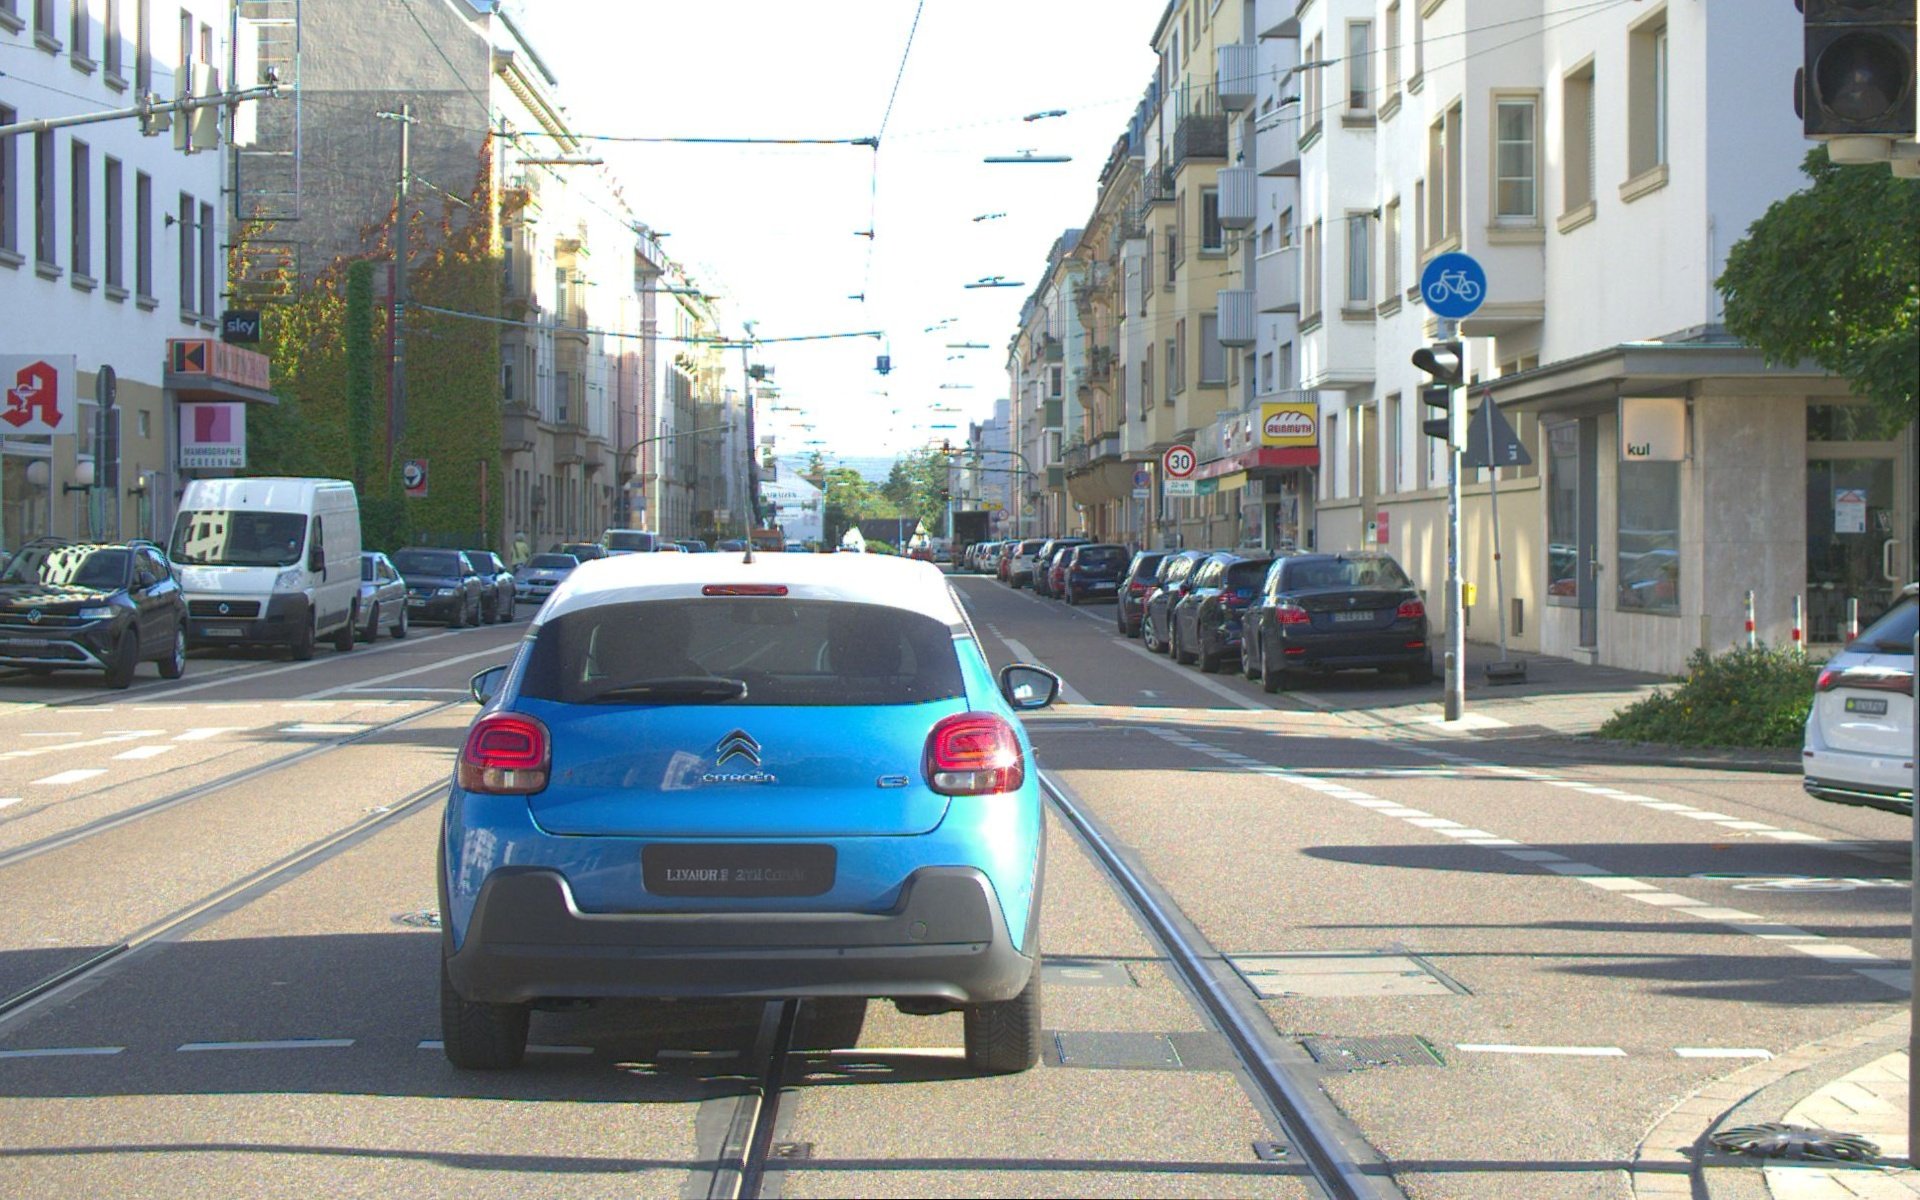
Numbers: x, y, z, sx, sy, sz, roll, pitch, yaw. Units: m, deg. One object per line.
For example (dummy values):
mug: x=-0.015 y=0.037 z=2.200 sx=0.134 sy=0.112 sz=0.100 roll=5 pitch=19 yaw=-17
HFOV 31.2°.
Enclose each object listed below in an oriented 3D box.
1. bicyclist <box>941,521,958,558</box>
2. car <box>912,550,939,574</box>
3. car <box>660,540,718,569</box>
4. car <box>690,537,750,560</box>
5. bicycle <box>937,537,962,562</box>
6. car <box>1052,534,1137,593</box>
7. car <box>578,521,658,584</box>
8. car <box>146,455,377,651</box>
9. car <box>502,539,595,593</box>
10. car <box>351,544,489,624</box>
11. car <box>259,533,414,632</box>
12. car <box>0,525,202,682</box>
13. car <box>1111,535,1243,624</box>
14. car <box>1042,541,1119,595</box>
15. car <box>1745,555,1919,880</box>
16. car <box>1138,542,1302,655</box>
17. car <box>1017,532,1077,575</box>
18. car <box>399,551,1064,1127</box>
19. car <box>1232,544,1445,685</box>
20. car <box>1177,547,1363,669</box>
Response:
bicyclist: x=-0.573 y=-3.389 z=192.732 sx=0.810 sy=2.007 sz=0.922 roll=1 pitch=0 yaw=8
car: x=-2.513 y=-2.812 z=253.286 sx=1.993 sy=1.766 sz=4.000 roll=0 pitch=1 yaw=0
car: x=-10.984 y=-1.850 z=139.591 sx=1.993 sy=1.152 sz=4.000 roll=0 pitch=1 yaw=0
car: x=-11.857 y=-2.560 z=170.236 sx=1.994 sy=1.152 sz=4.513 roll=0 pitch=1 yaw=9
bicycle: x=-0.583 y=-2.814 z=192.788 sx=0.920 sy=1.384 sz=3.130 roll=0 pitch=1 yaw=10
car: x=3.390 y=-0.936 z=87.475 sx=1.993 sy=1.459 sz=4.504 roll=0 pitch=1 yaw=0
car: x=-11.135 y=-1.539 z=112.315 sx=2.006 sy=2.007 sz=4.689 roll=1 pitch=0 yaw=1
car: x=-9.684 y=-0.663 z=48.187 sx=2.085 sy=2.533 sz=6.206 roll=1 pitch=1 yaw=-1
car: x=-10.586 y=-0.877 z=88.695 sx=1.993 sy=1.320 sz=3.923 roll=1 pitch=0 yaw=-1
car: x=-9.948 y=-0.305 z=63.608 sx=1.993 sy=1.393 sz=4.157 roll=1 pitch=0 yaw=-1
car: x=-9.908 y=-0.290 z=54.820 sx=1.888 sy=1.491 sz=3.562 roll=1 pitch=0 yaw=-1
car: x=-9.809 y=0.002 z=37.834 sx=1.993 sy=1.563 sz=4.403 roll=3 pitch=0 yaw=-1
car: x=3.635 y=-0.362 z=58.268 sx=1.993 sy=1.459 sz=4.000 roll=0 pitch=1 yaw=0
car: x=3.319 y=-0.892 z=95.377 sx=1.993 sy=1.459 sz=4.000 roll=0 pitch=1 yaw=0
car: x=6.537 y=0.552 z=16.895 sx=4.798 sy=1.459 sz=1.992 roll=1 pitch=1 yaw=-11
car: x=3.576 y=-0.052 z=47.869 sx=1.993 sy=1.496 sz=4.000 roll=0 pitch=1 yaw=0
car: x=2.989 y=-1.623 z=118.546 sx=1.993 sy=1.459 sz=4.000 roll=0 pitch=1 yaw=0
car: x=-0.622 y=0.604 z=10.971 sx=1.728 sy=1.477 sz=3.827 roll=1 pitch=1 yaw=-1
car: x=4.098 y=0.120 z=37.797 sx=1.909 sy=1.459 sz=4.000 roll=0 pitch=1 yaw=0
car: x=3.838 y=0.069 z=43.137 sx=1.993 sy=1.459 sz=4.000 roll=0 pitch=1 yaw=0
